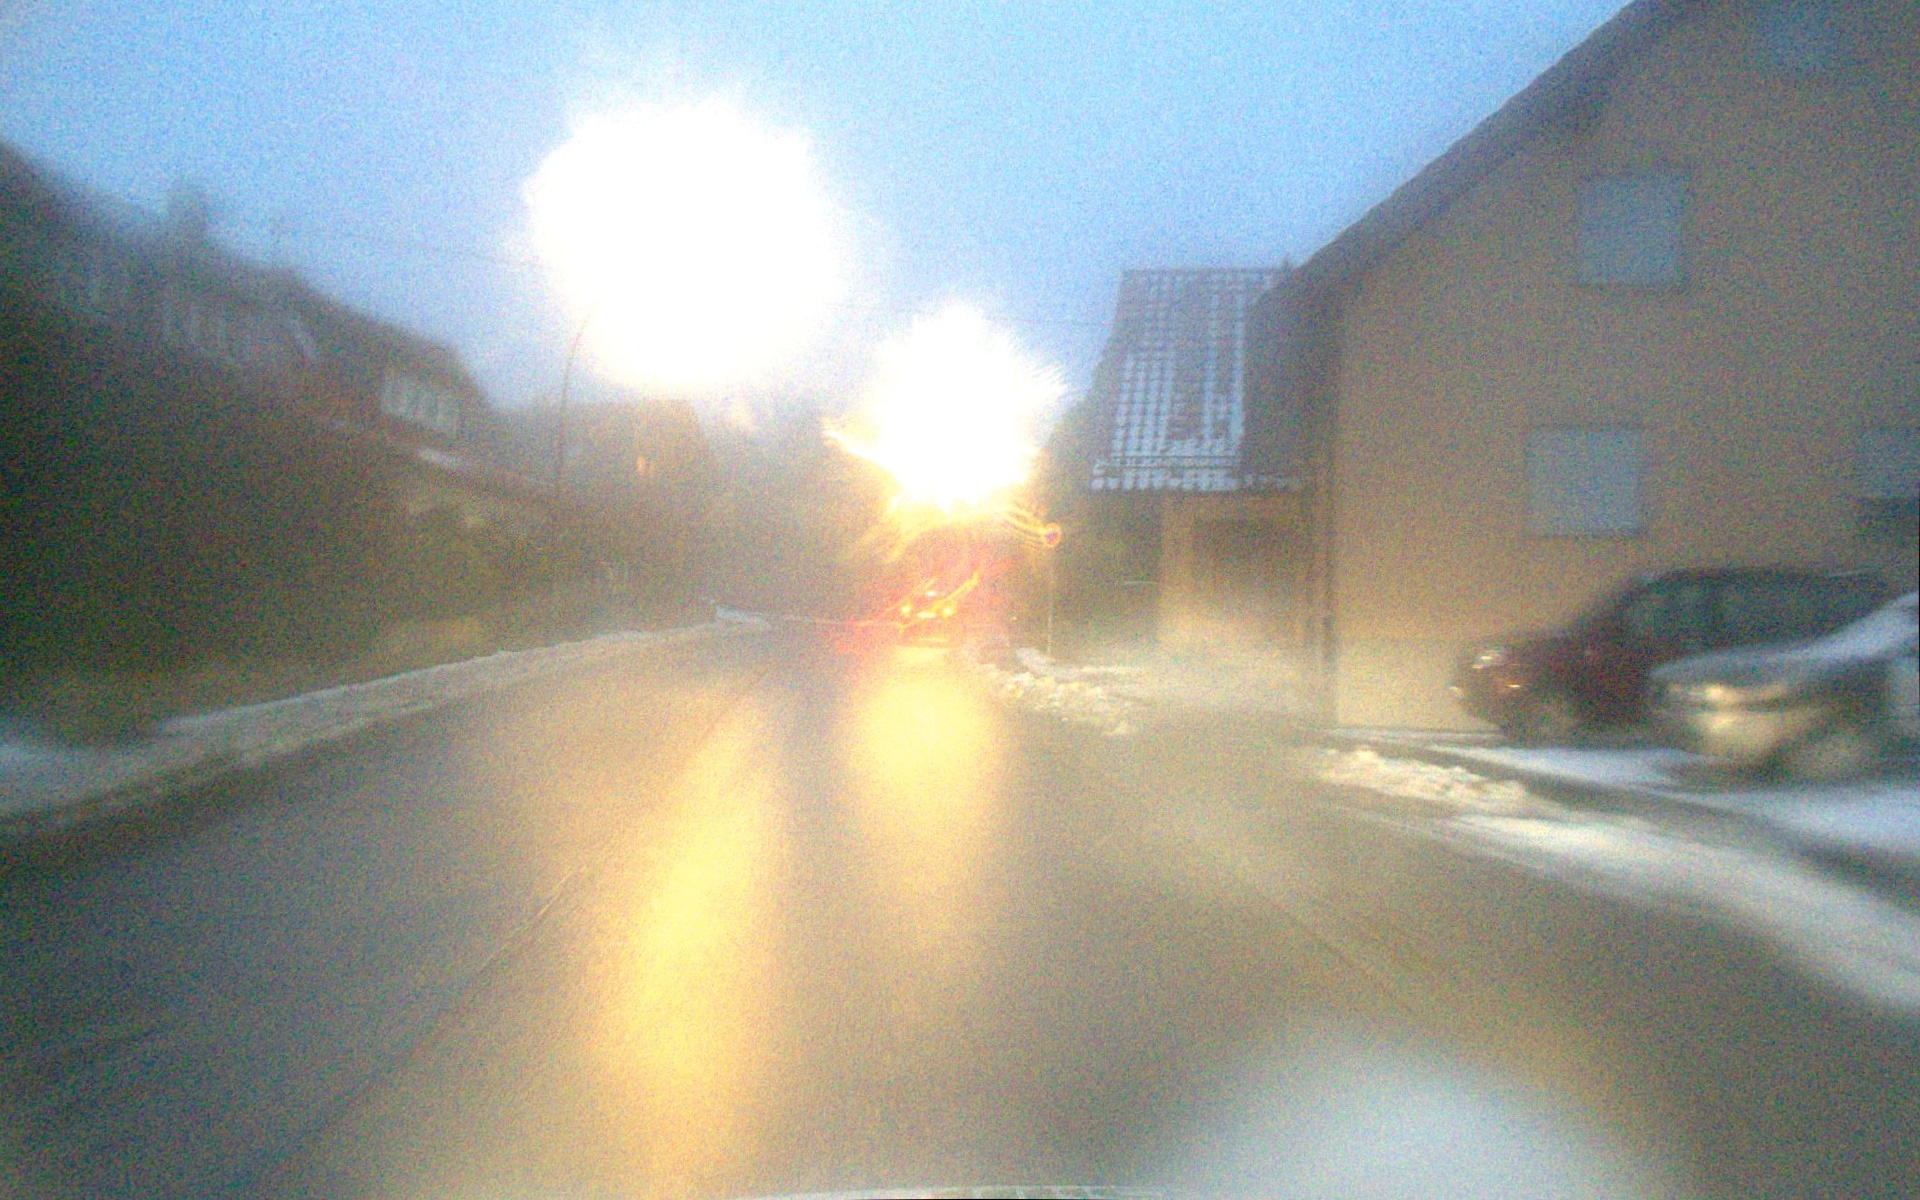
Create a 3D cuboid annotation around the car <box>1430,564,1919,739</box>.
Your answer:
[{"bbox_3d":[6.927,0.538,16.379,4.070,1.587,1.947,-1,-3,6],"label":"car"}]

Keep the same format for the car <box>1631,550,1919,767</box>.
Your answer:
[{"bbox_3d":[7.872,0.445,13.367,4.152,1.586,2.001,-3,-3,11],"label":"car"}]

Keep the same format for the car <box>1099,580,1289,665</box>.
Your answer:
[{"bbox_3d":[5.165,0.474,36.306,3.902,1.719,1.846,1,0,15],"label":"car"}]

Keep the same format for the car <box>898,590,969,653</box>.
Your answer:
[{"bbox_3d":[-0.773,0.698,50.826,1.952,1.767,3.879,-1,-3,3],"label":"car"}]
